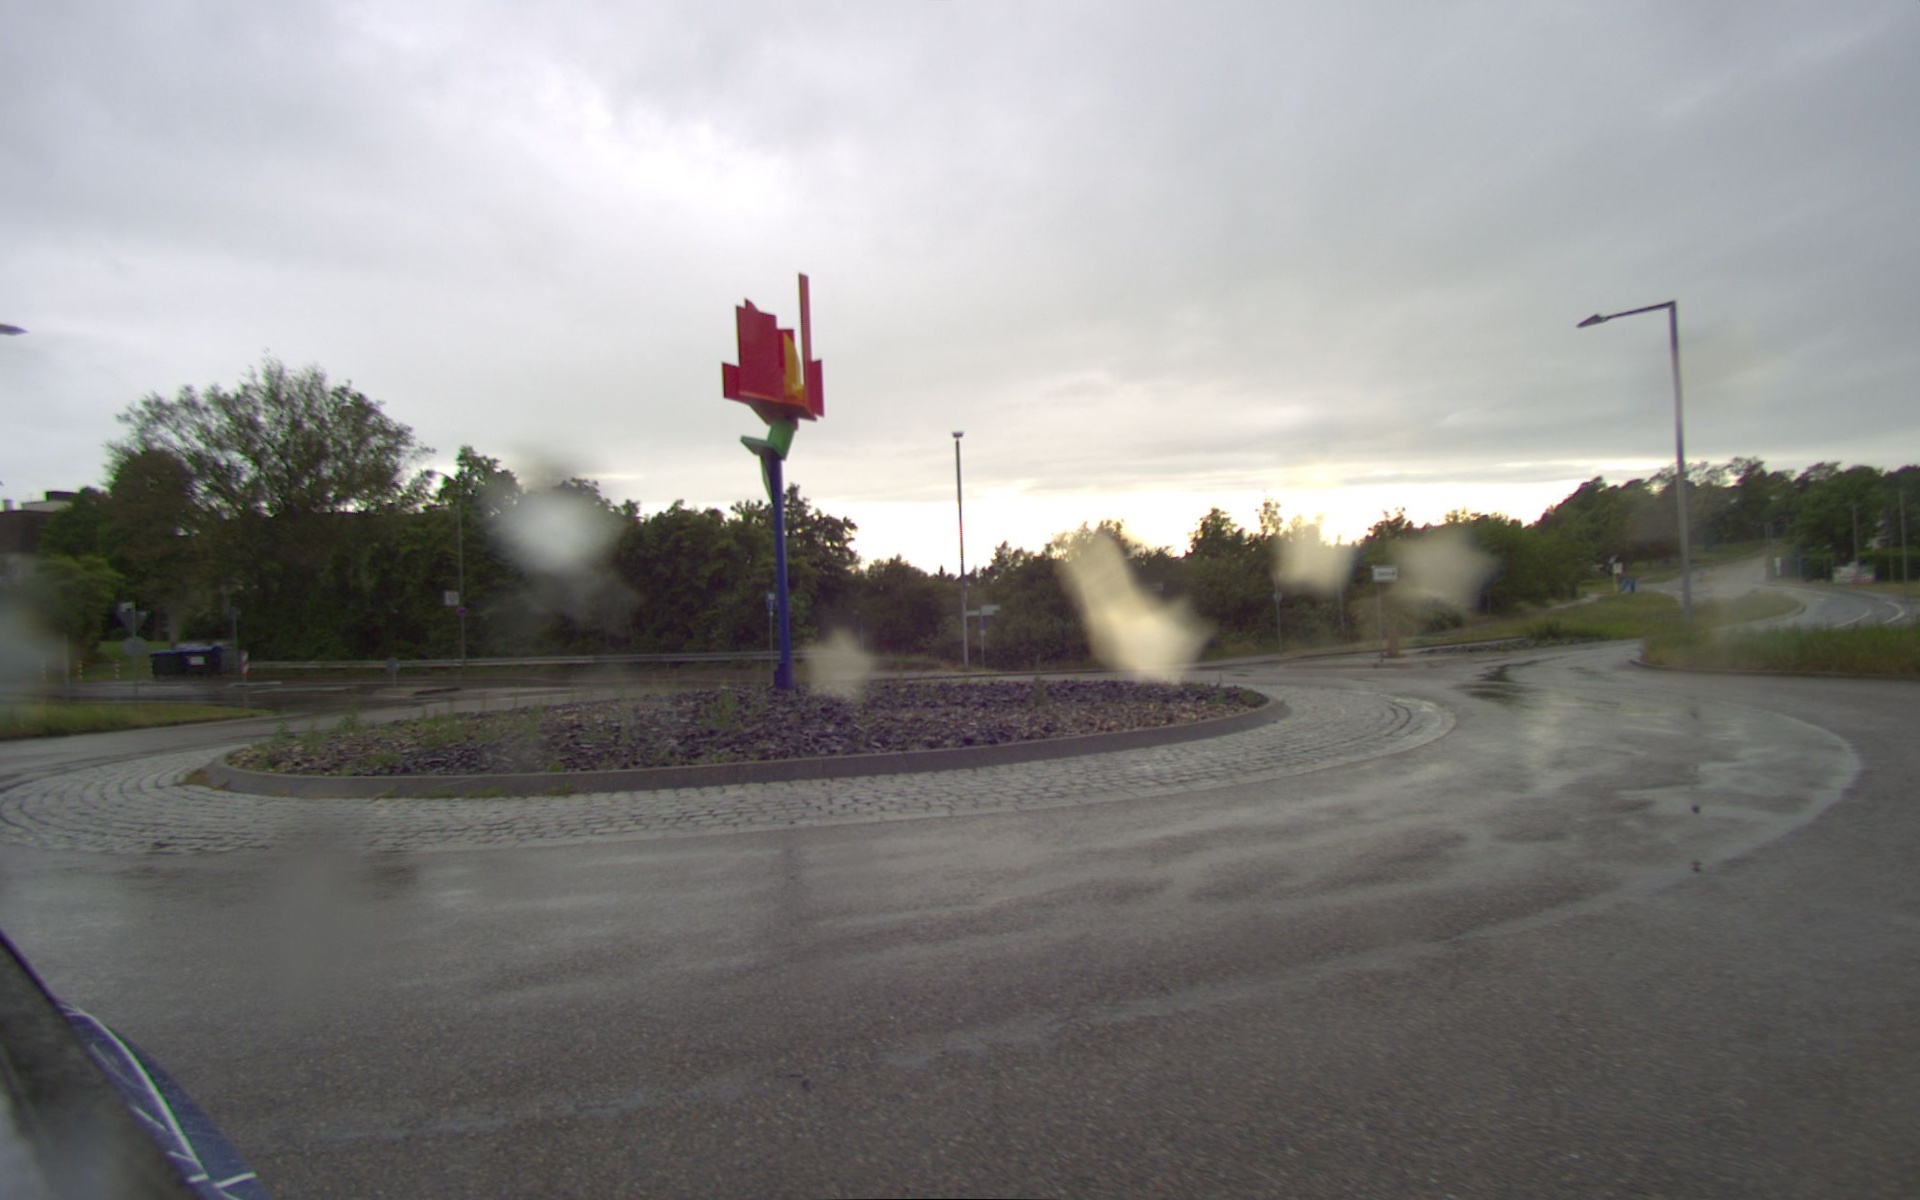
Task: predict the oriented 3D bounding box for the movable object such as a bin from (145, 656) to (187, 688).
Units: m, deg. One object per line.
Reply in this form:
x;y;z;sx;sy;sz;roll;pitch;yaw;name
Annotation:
-37.494;3.386;47.803;1.060;1.448;1.198;-1;-1;0;movable object such as a bin

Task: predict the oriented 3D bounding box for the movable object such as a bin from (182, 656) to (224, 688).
-36.018;3.416;48.192;1.060;1.352;1.197;-2;1;2;movable object such as a bin
